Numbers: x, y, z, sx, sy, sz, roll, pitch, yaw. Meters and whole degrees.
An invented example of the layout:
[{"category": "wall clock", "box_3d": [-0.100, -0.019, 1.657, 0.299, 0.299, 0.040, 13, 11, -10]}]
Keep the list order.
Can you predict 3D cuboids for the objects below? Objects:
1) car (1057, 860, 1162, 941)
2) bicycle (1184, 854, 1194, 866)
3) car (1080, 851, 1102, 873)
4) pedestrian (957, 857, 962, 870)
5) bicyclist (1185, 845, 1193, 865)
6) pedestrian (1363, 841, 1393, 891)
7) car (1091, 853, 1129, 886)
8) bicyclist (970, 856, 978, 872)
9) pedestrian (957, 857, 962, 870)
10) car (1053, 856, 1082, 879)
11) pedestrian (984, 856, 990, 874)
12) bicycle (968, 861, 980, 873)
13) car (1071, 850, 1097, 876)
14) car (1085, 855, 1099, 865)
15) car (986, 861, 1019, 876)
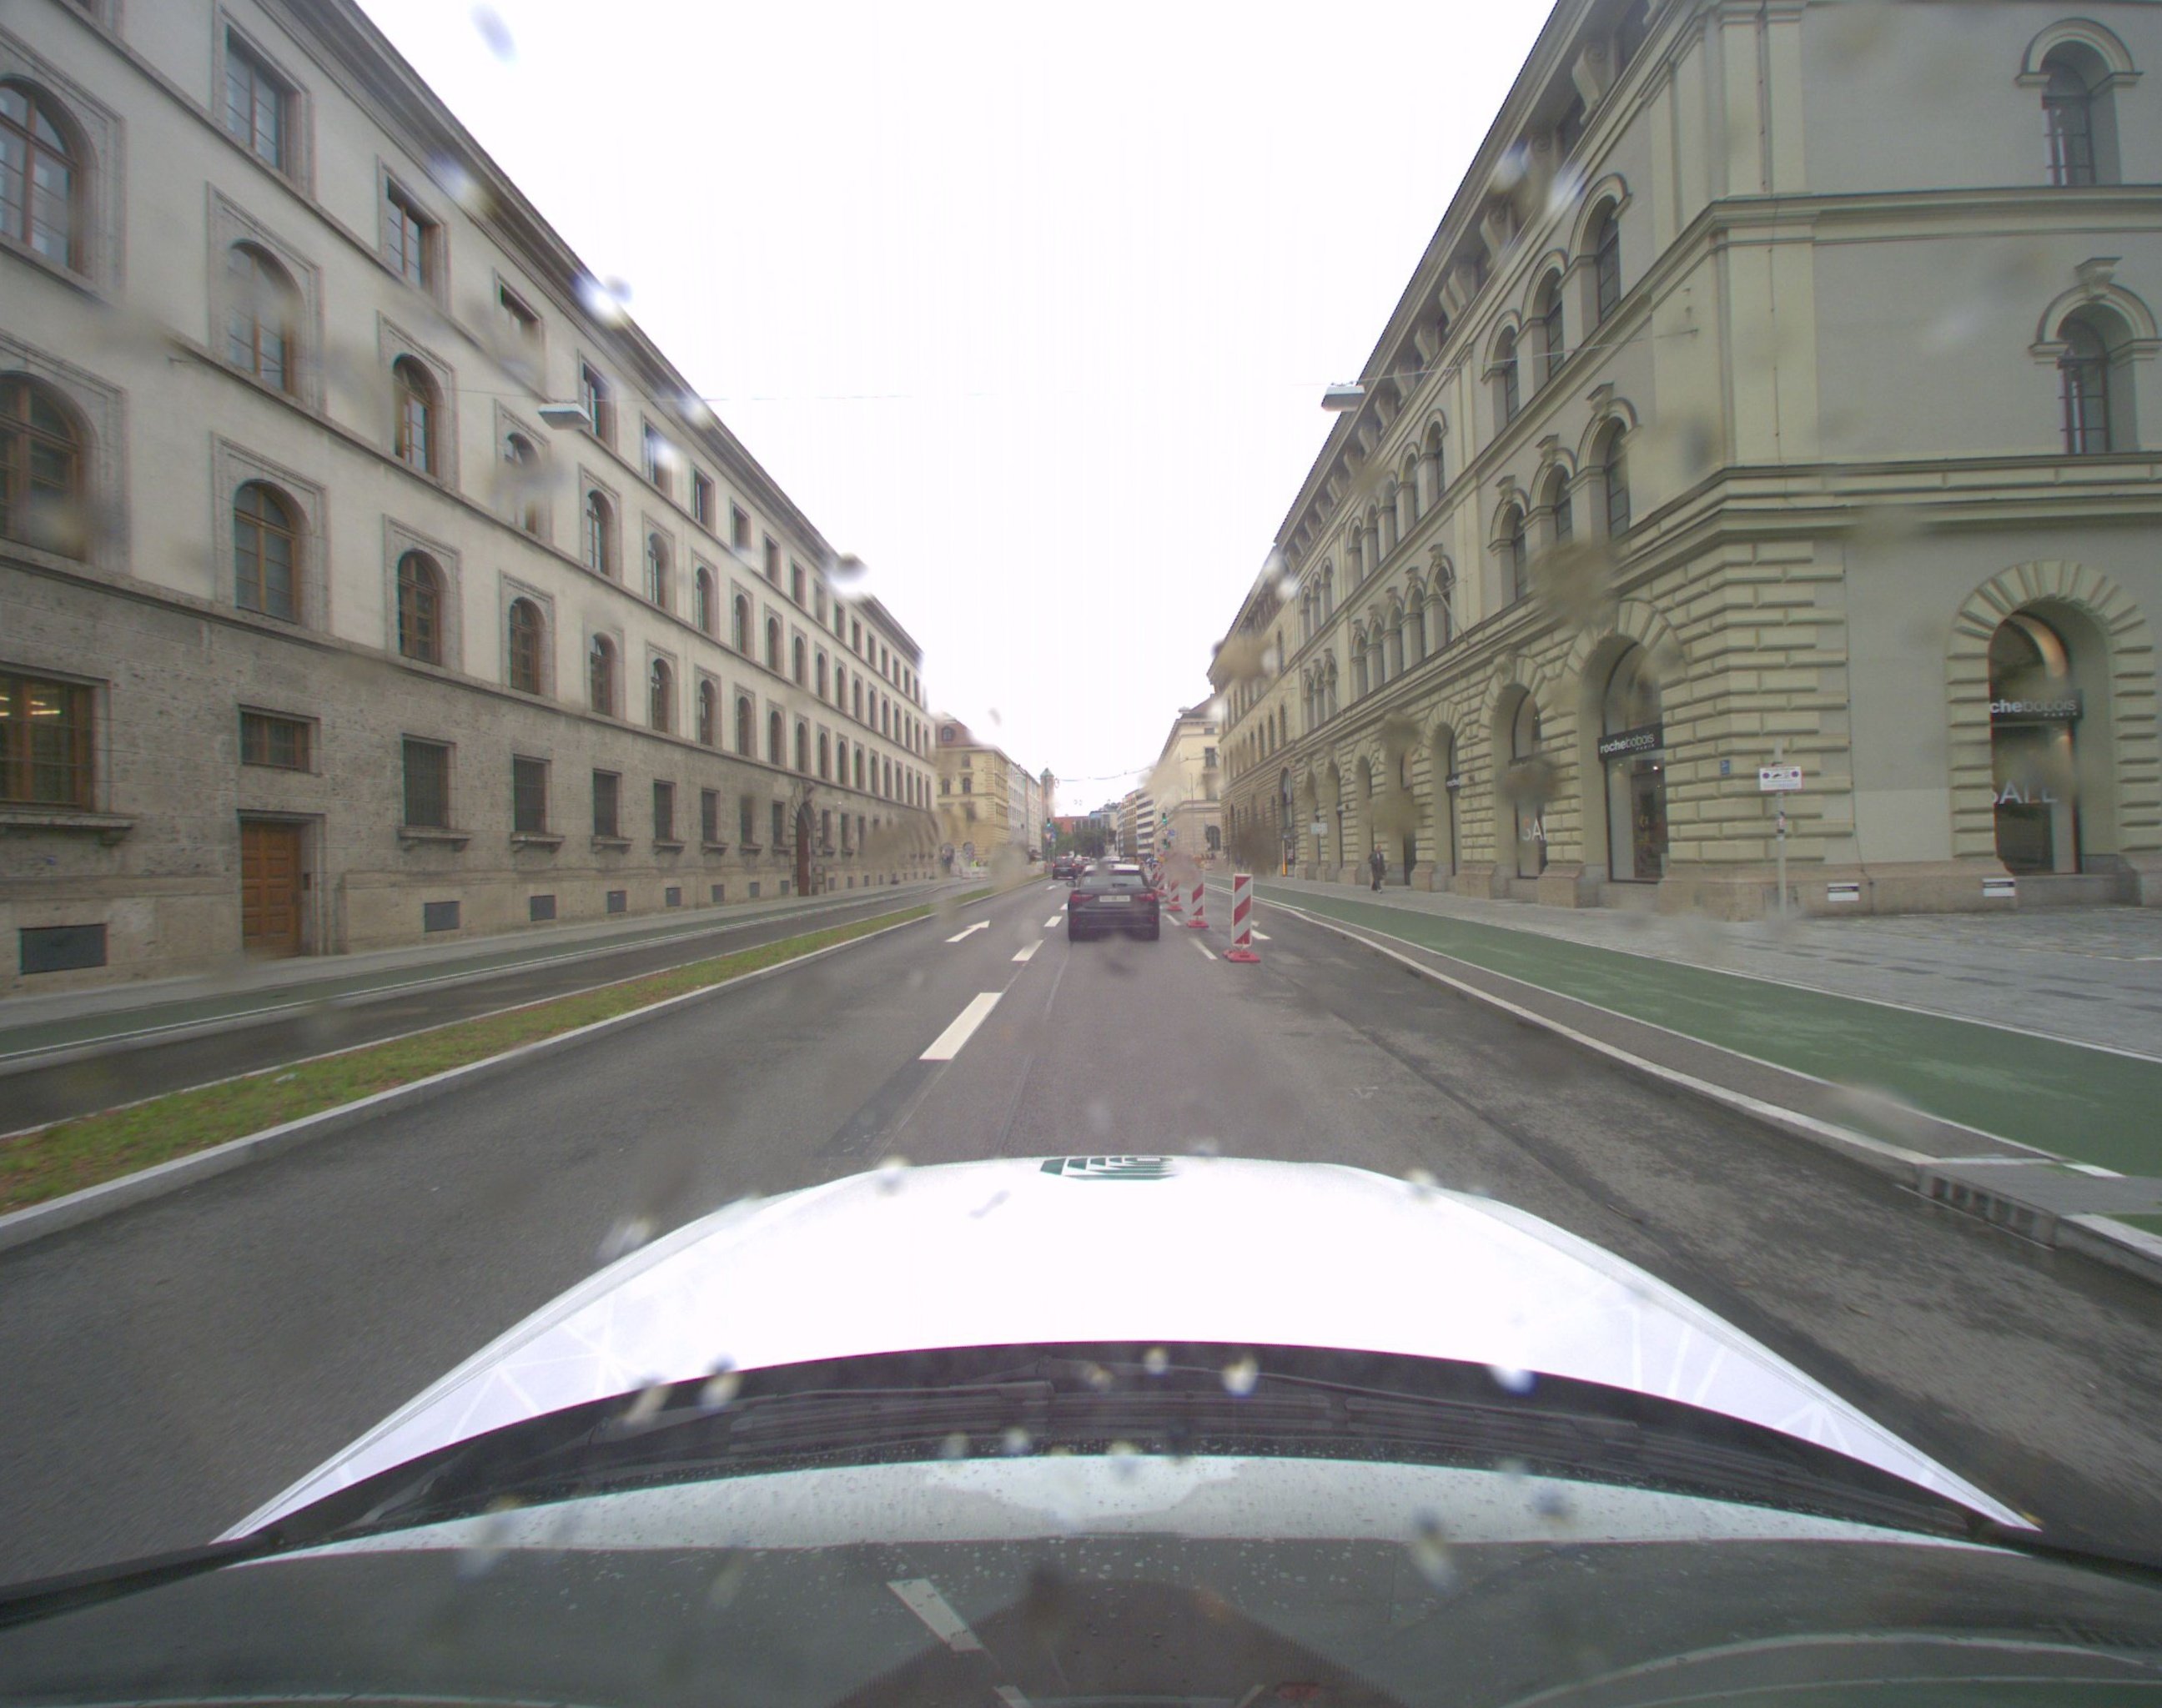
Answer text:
[{"category": "car", "box_3d": [0.573, 0.849, 16.566, 1.856, 1.388, 4.002, -1, 0, 2]}, {"category": "bicycle", "box_3d": [9.803, 0.533, 73.633, 0.583, 1.011, 1.654, -1, 0, -3]}, {"category": "car", "box_3d": [1.049, 0.779, 81.125, 1.986, 2.013, 4.002, -2, 0, 2]}, {"category": "pedestrian", "box_3d": [-16.813, 1.324, 112.551, 0.733, 1.772, 0.737, -1, 0, -8]}, {"category": "bicyclist", "box_3d": [9.799, 0.098, 73.610, 0.565, 1.854, 0.798, -1, 0, -4]}, {"category": "pedestrian", "box_3d": [10.429, 0.422, 28.633, 0.630, 1.704, 1.086, -3, 0, 1]}, {"category": "car", "box_3d": [1.476, 0.798, 42.707, 1.764, 1.617, 3.998, -1, 0, -1]}, {"category": "bicyclist", "box_3d": [-11.833, 1.152, 89.992, 0.794, 1.748, 0.690, -1, 0, 5]}, {"category": "pedestrian", "box_3d": [-16.698, 1.327, 111.785, 0.733, 1.772, 0.737, -1, 0, -8]}, {"category": "car", "box_3d": [-0.946, 0.955, 58.941, 1.858, 1.601, 3.852, -2, 0, 1]}, {"category": "pedestrian", "box_3d": [-9.068, 1.082, 78.404, 0.512, 1.743, 1.040, -2, -1, -8]}, {"category": "bicycle", "box_3d": [-11.827, 1.419, 90.013, 0.783, 1.242, 2.453, -1, 0, 6]}, {"category": "car", "box_3d": [0.305, 0.722, 68.318, 1.986, 2.013, 4.001, -2, 0, 1]}, {"category": "car", "box_3d": [1.637, 0.922, 123.725, 1.986, 1.524, 4.234, -2, 0, 1]}, {"category": "car", "box_3d": [-9.944, 1.852, 103.637, 3.771, 1.798, 1.846, -2, -1, -39]}]
